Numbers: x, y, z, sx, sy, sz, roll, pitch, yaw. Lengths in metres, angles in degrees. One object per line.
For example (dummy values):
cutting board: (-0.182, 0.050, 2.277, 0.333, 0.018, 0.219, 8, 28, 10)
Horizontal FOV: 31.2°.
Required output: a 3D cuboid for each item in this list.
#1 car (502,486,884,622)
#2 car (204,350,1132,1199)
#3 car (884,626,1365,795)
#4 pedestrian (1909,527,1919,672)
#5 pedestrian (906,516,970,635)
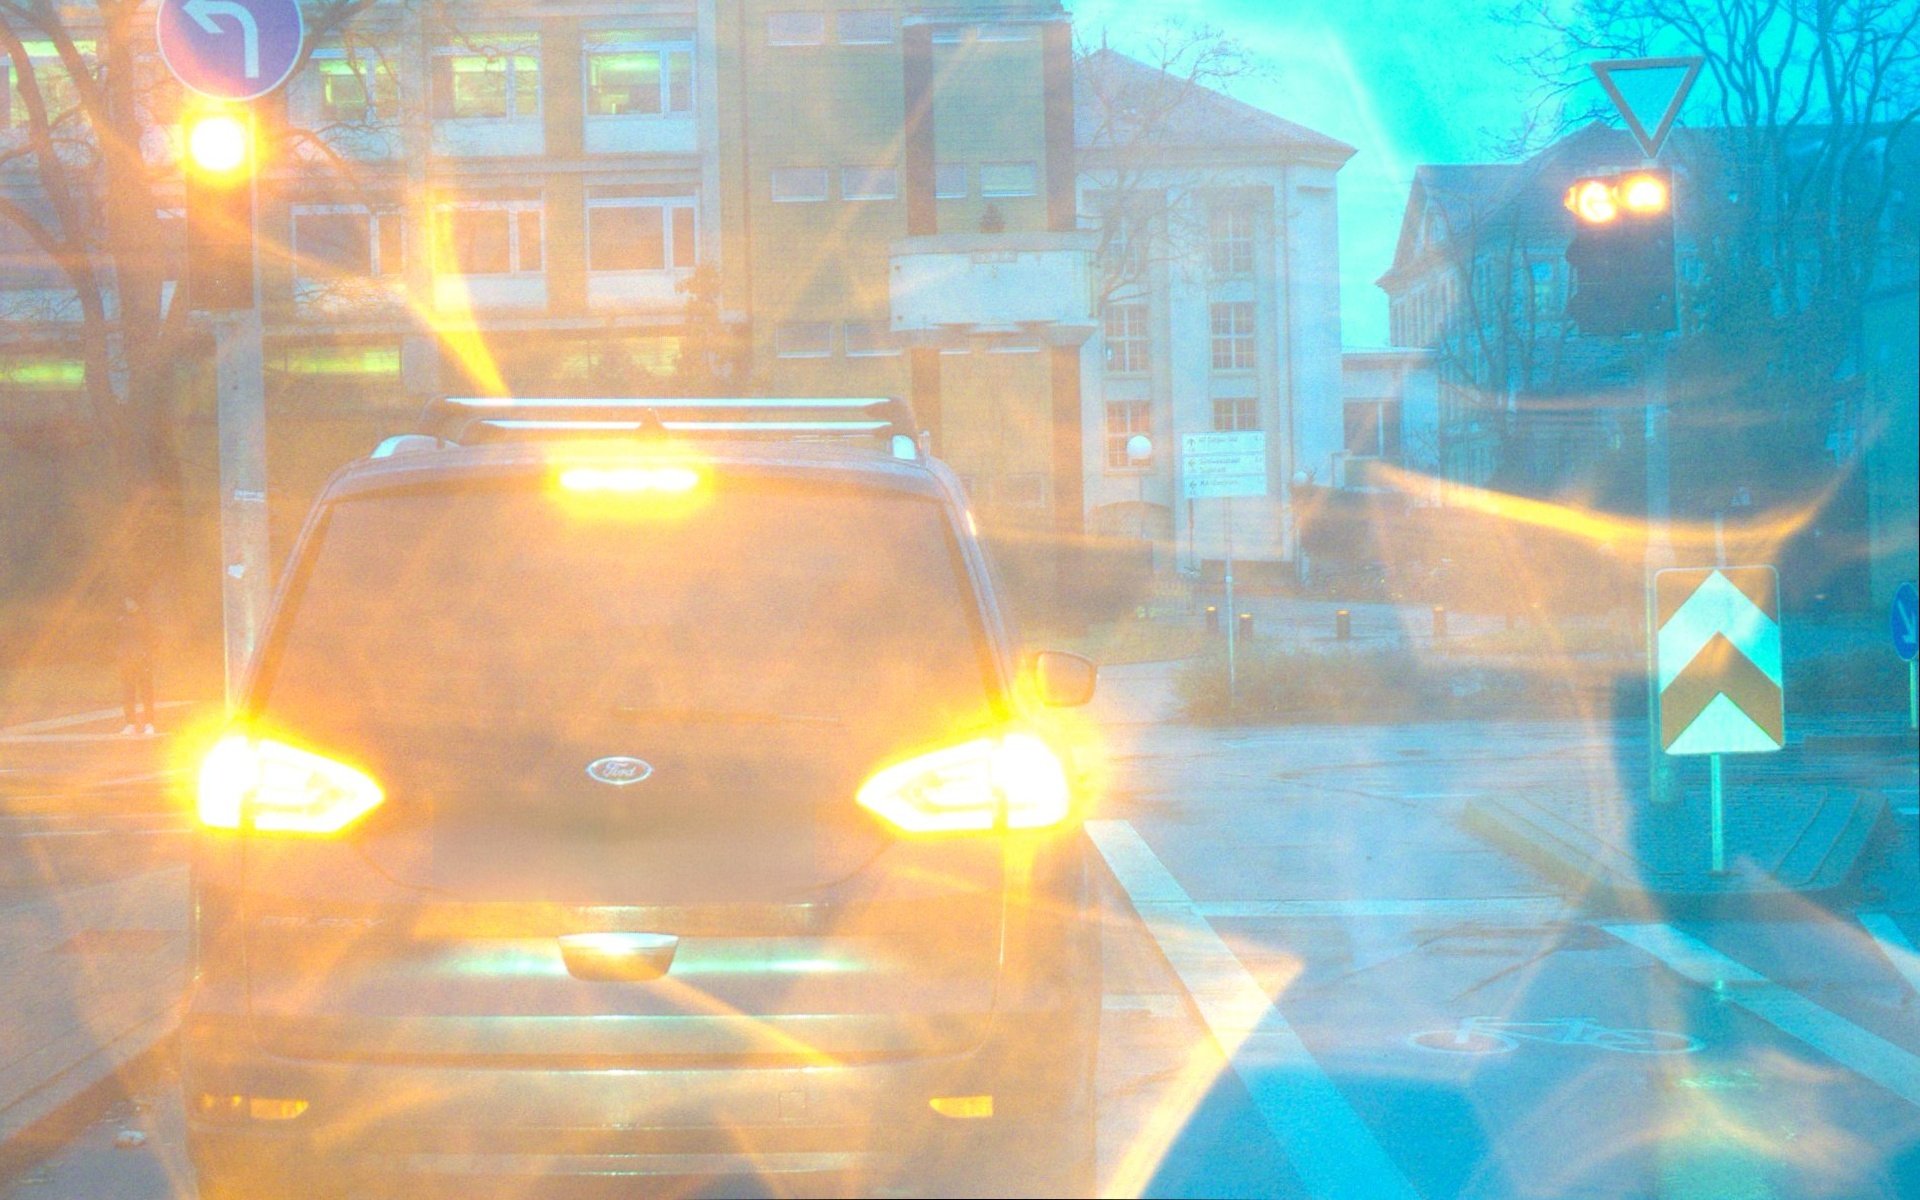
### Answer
car: (-4.028, -0.684, 52.423, 5.548, 2.017, 1.999, 0, -1, 6)
car: (-0.546, 0.424, 8.123, 1.647, 1.812, 4.000, 0, 1, -1)
car: (1.648, 1.057, 33.722, 4.436, 1.575, 1.967, 0, -1, 13)
pedestrian: (12.237, -0.004, 43.492, 0.438, 1.832, 0.459, 0, -1, 17)
pedestrian: (-0.309, -0.339, 48.555, 0.684, 1.655, 0.677, 1, -1, -25)
